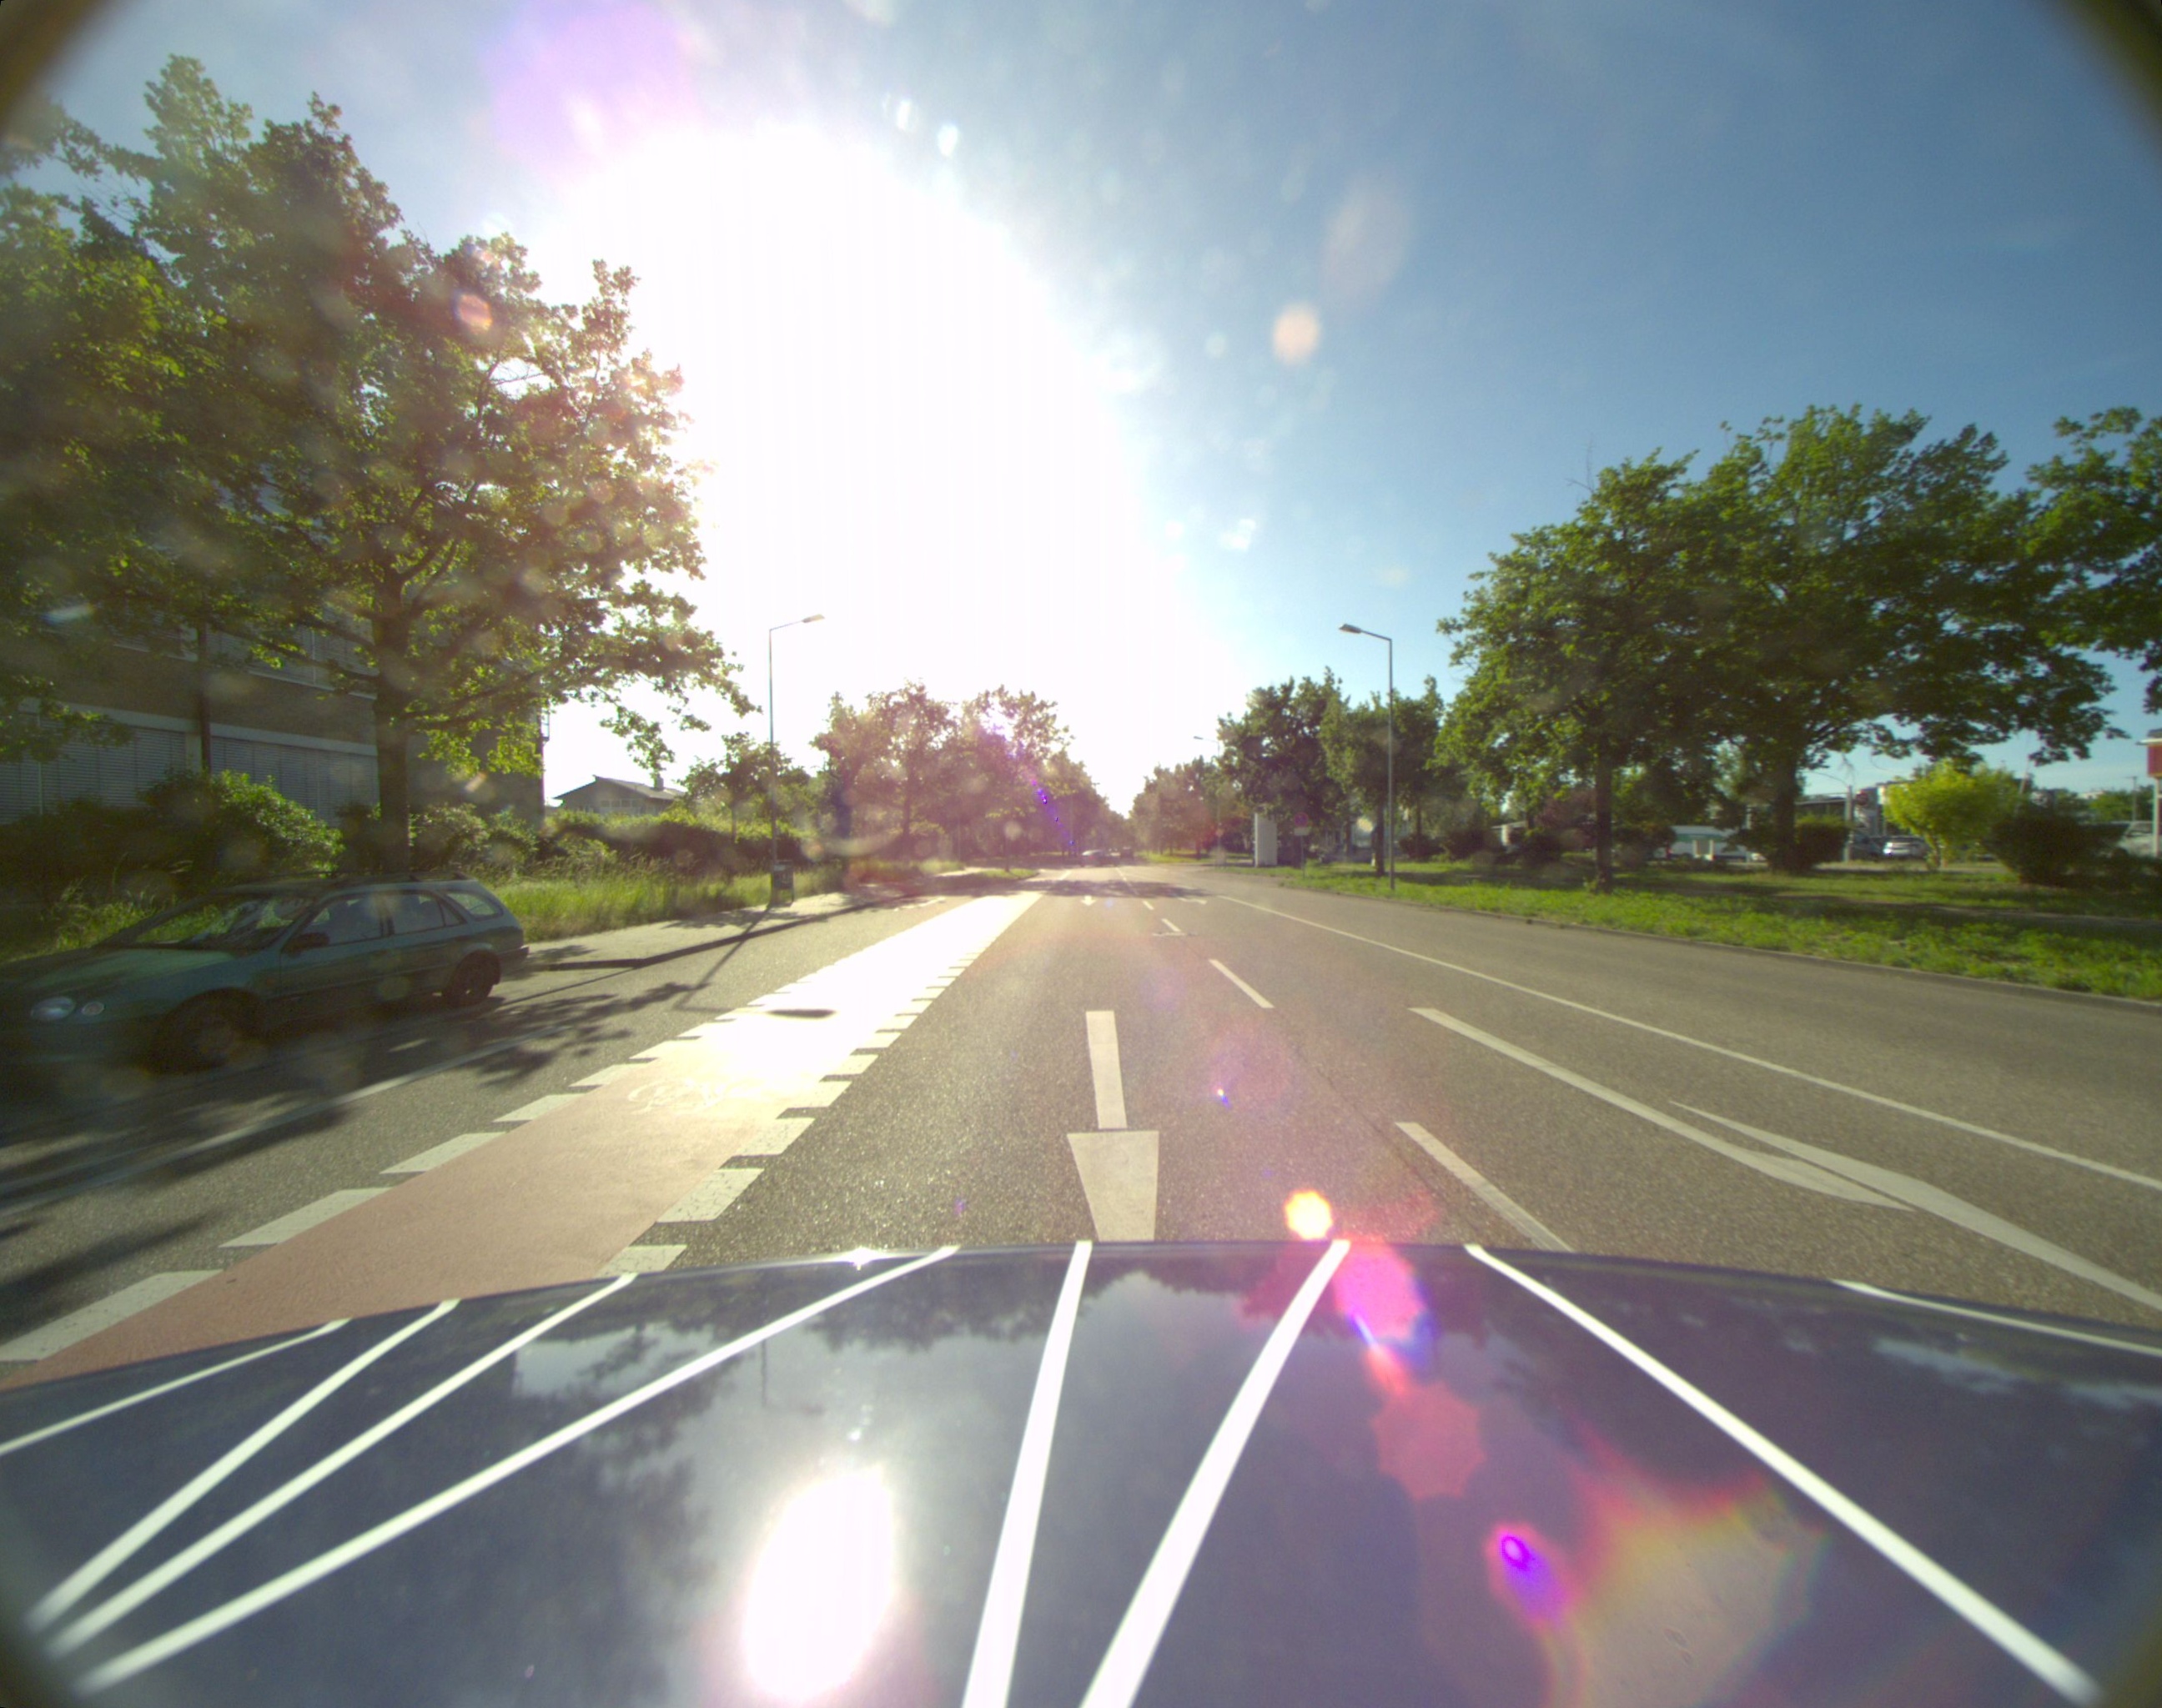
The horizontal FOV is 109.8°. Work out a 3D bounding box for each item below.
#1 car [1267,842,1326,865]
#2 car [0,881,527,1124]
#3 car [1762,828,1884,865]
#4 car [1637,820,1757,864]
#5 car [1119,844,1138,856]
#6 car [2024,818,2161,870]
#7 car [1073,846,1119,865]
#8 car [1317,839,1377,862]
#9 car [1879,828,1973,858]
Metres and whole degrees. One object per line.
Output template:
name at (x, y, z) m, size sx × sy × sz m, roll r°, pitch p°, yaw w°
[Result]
car at (18.542, -0.060, 65.494) m, size 4.463 × 1.822 × 2.000 m, roll -2°, pitch 1°, yaw 0°
car at (-7.509, 1.044, 7.018) m, size 1.706 × 1.460 × 4.141 m, roll -1°, pitch 0°, yaw 0°
car at (40.027, -0.400, 41.074) m, size 4.642 × 1.771 × 1.990 m, roll -2°, pitch 1°, yaw 0°
car at (39.854, -0.802, 49.247) m, size 6.023 × 2.540 × 2.409 m, roll -2°, pitch 1°, yaw -4°
car at (5.953, -0.545, 95.407) m, size 1.768 × 1.517 × 4.078 m, roll 0°, pitch 1°, yaw -4°
car at (33.878, -0.341, 24.886) m, size 3.817 × 1.562 × 1.735 m, roll -2°, pitch 0°, yaw 0°
car at (1.336, 0.085, 65.285) m, size 1.891 × 1.510 × 4.497 m, roll 1°, pitch 2°, yaw 32°
car at (23.855, -0.321, 68.199) m, size 4.637 × 1.822 × 2.000 m, roll -2°, pitch 1°, yaw 0°
car at (52.046, -0.655, 46.828) m, size 3.860 × 1.662 × 1.762 m, roll -2°, pitch 1°, yaw 0°
